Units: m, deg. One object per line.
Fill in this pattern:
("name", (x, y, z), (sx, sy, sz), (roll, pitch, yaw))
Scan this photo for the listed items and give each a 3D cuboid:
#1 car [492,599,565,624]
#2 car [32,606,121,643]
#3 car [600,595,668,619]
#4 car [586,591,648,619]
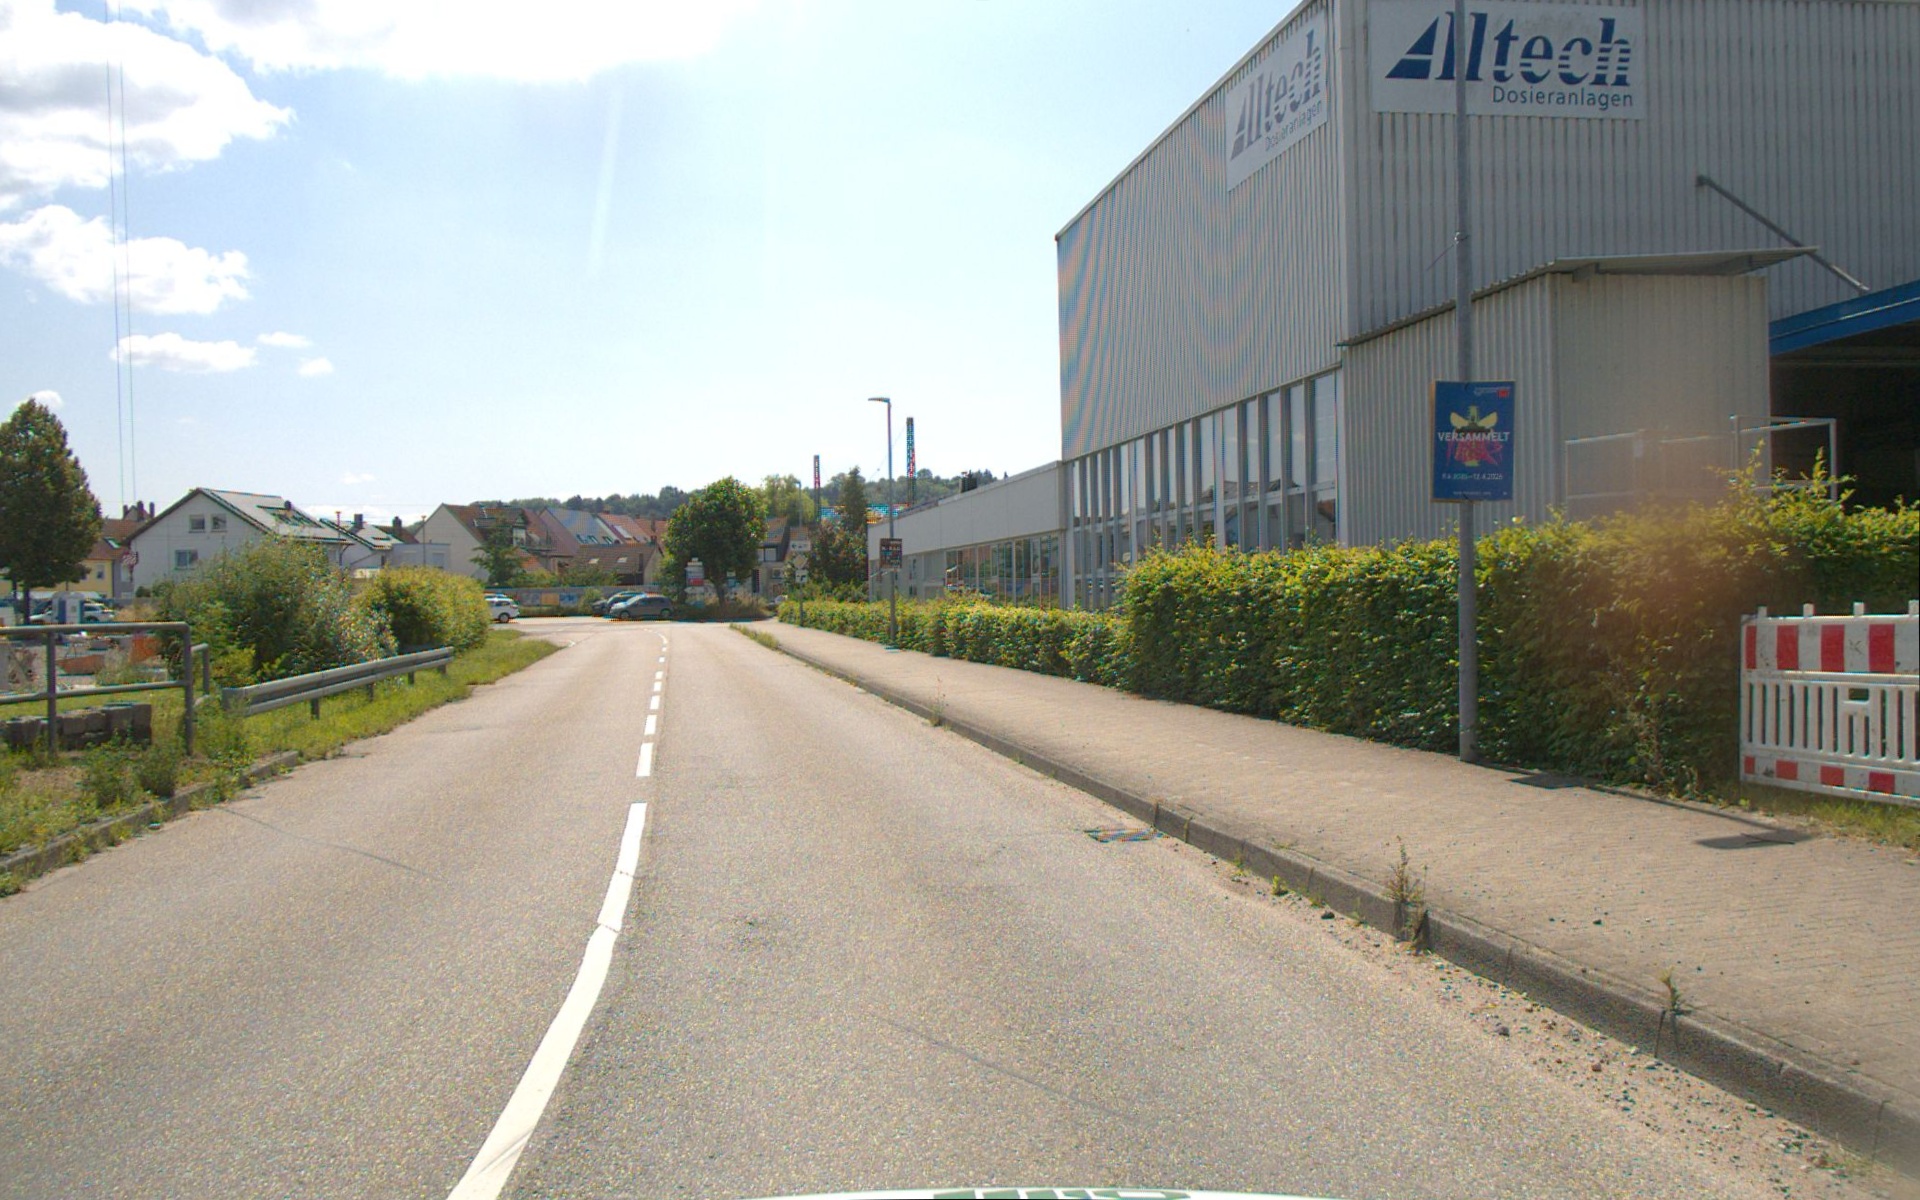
("car", (-27.004, 0.733, 103.455), (4.224, 1.503, 1.815), (1, -1, -23))
("car", (-51.146, 1.411, 95.803), (4.363, 2.049, 1.975), (-1, 0, -36))
("car", (-20.877, 0.468, 105.962), (4.125, 1.488, 1.655), (0, -1, -20))
("car", (-23.417, 0.349, 112.978), (3.928, 1.760, 1.759), (1, -1, -21))
